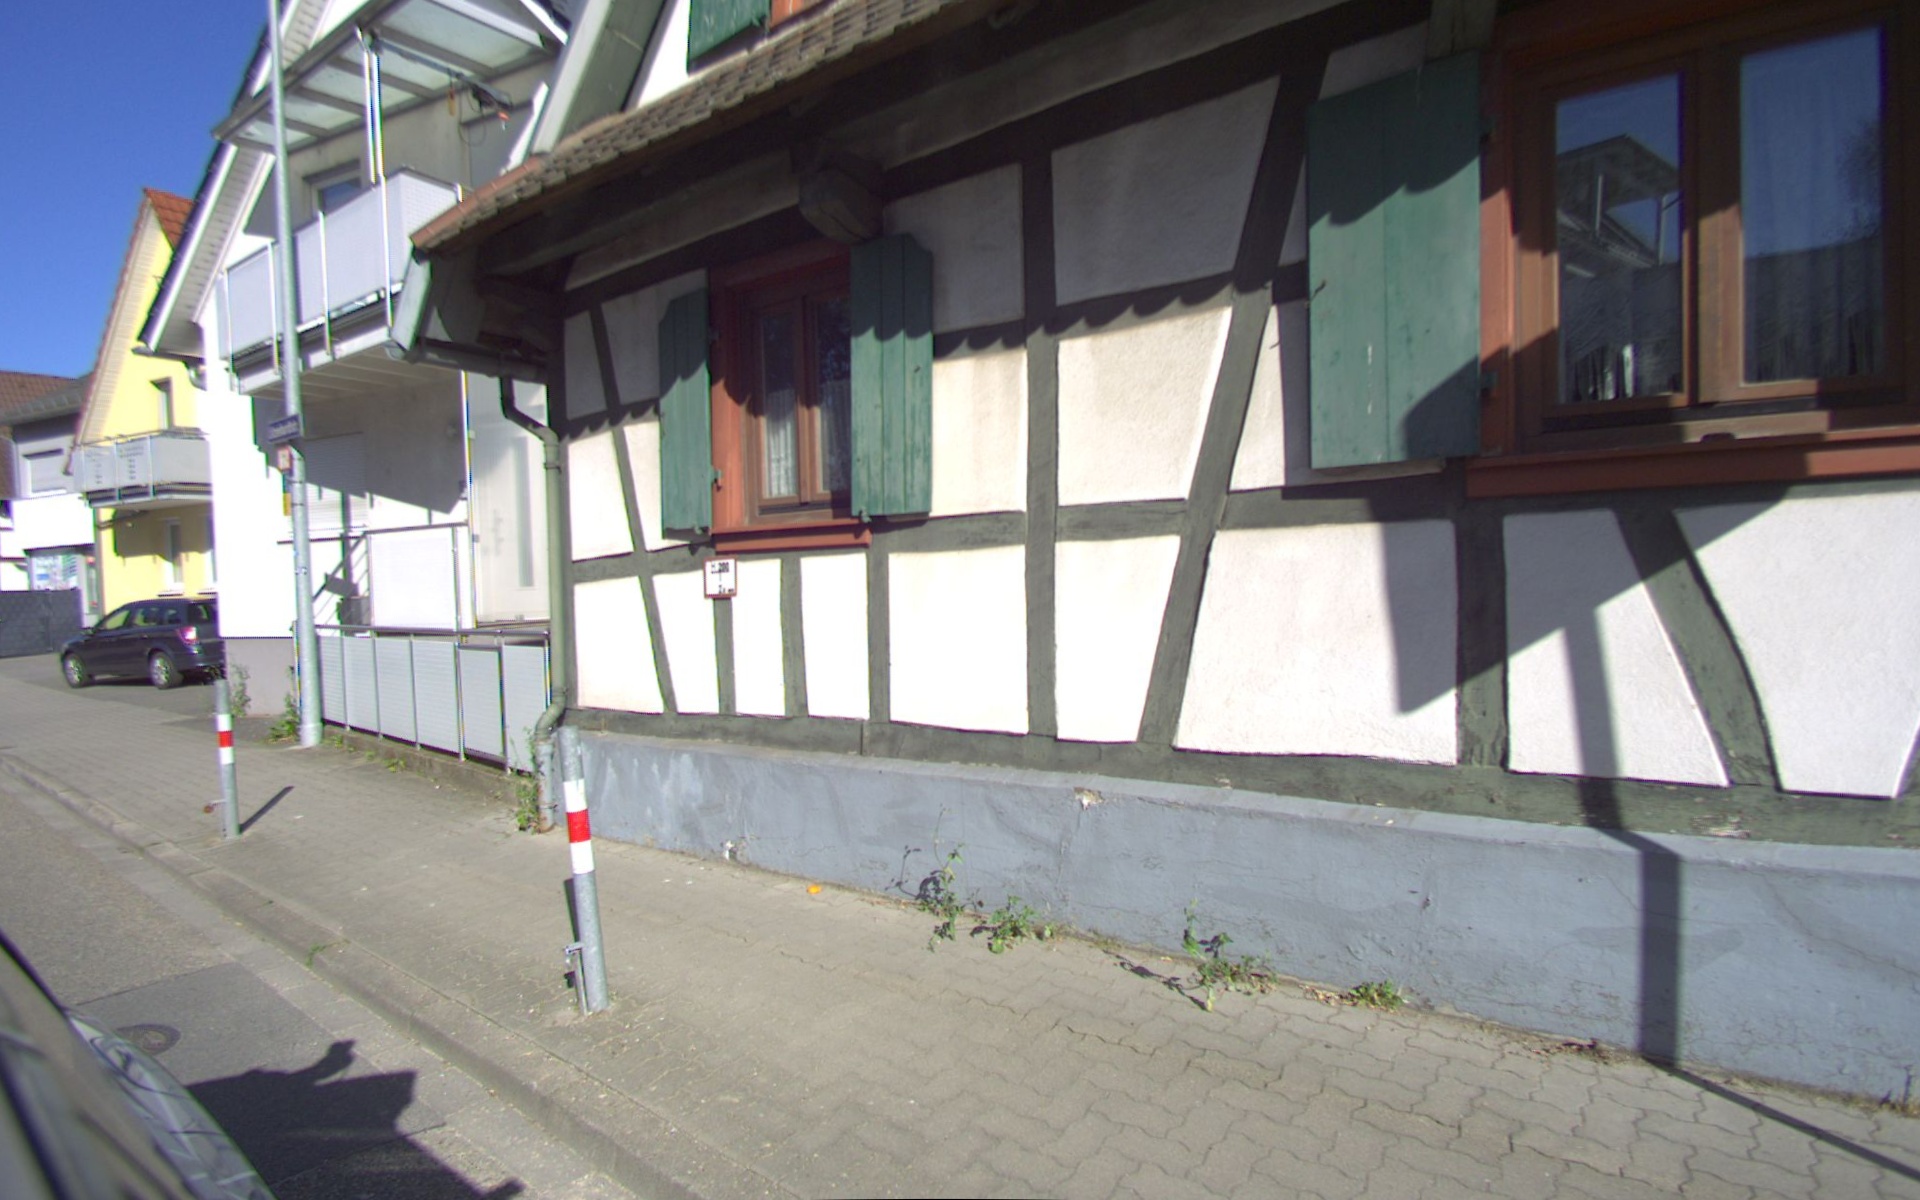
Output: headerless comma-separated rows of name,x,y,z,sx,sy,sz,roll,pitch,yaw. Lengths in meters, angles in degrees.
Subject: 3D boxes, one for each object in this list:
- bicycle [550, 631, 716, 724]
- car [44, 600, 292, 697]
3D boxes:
bicycle,-2.882,0.656,8.881,1.496,0.722,0.485,-1,2,31
car,-13.932,0.828,17.779,4.152,1.456,1.680,-2,2,25
